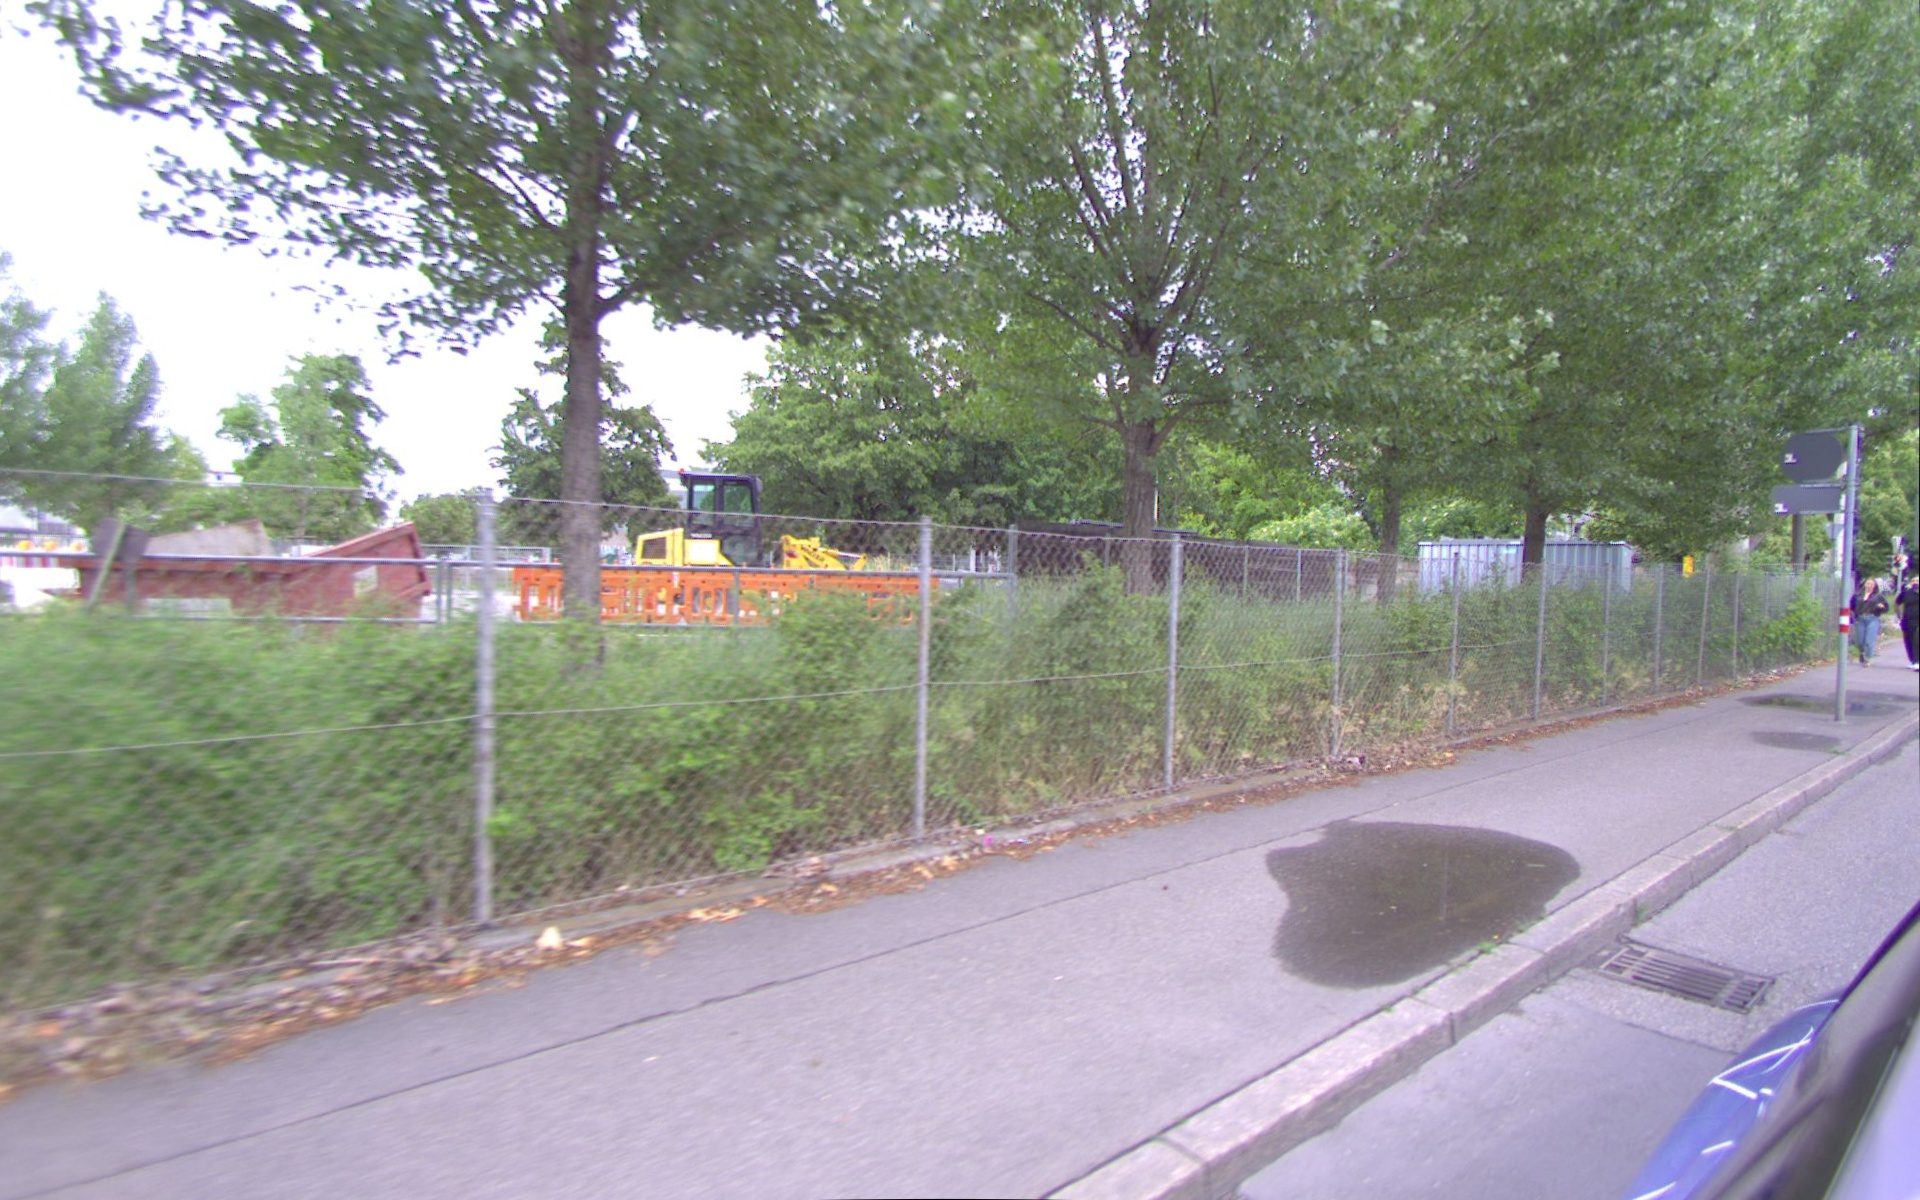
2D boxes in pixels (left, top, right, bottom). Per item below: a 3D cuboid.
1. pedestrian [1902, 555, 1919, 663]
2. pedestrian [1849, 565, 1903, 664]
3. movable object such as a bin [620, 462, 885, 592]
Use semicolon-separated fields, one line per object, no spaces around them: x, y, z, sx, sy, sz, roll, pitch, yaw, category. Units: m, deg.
17.147;0.158;17.876;0.660;1.890;0.604;-1;3;-40;pedestrian
16.673;0.247;18.427;0.660;1.709;0.604;-4;5;-39;pedestrian
-3.610;-1.302;17.592;4.205;2.037;2.006;-3;4;-16;movable object such as a bin
